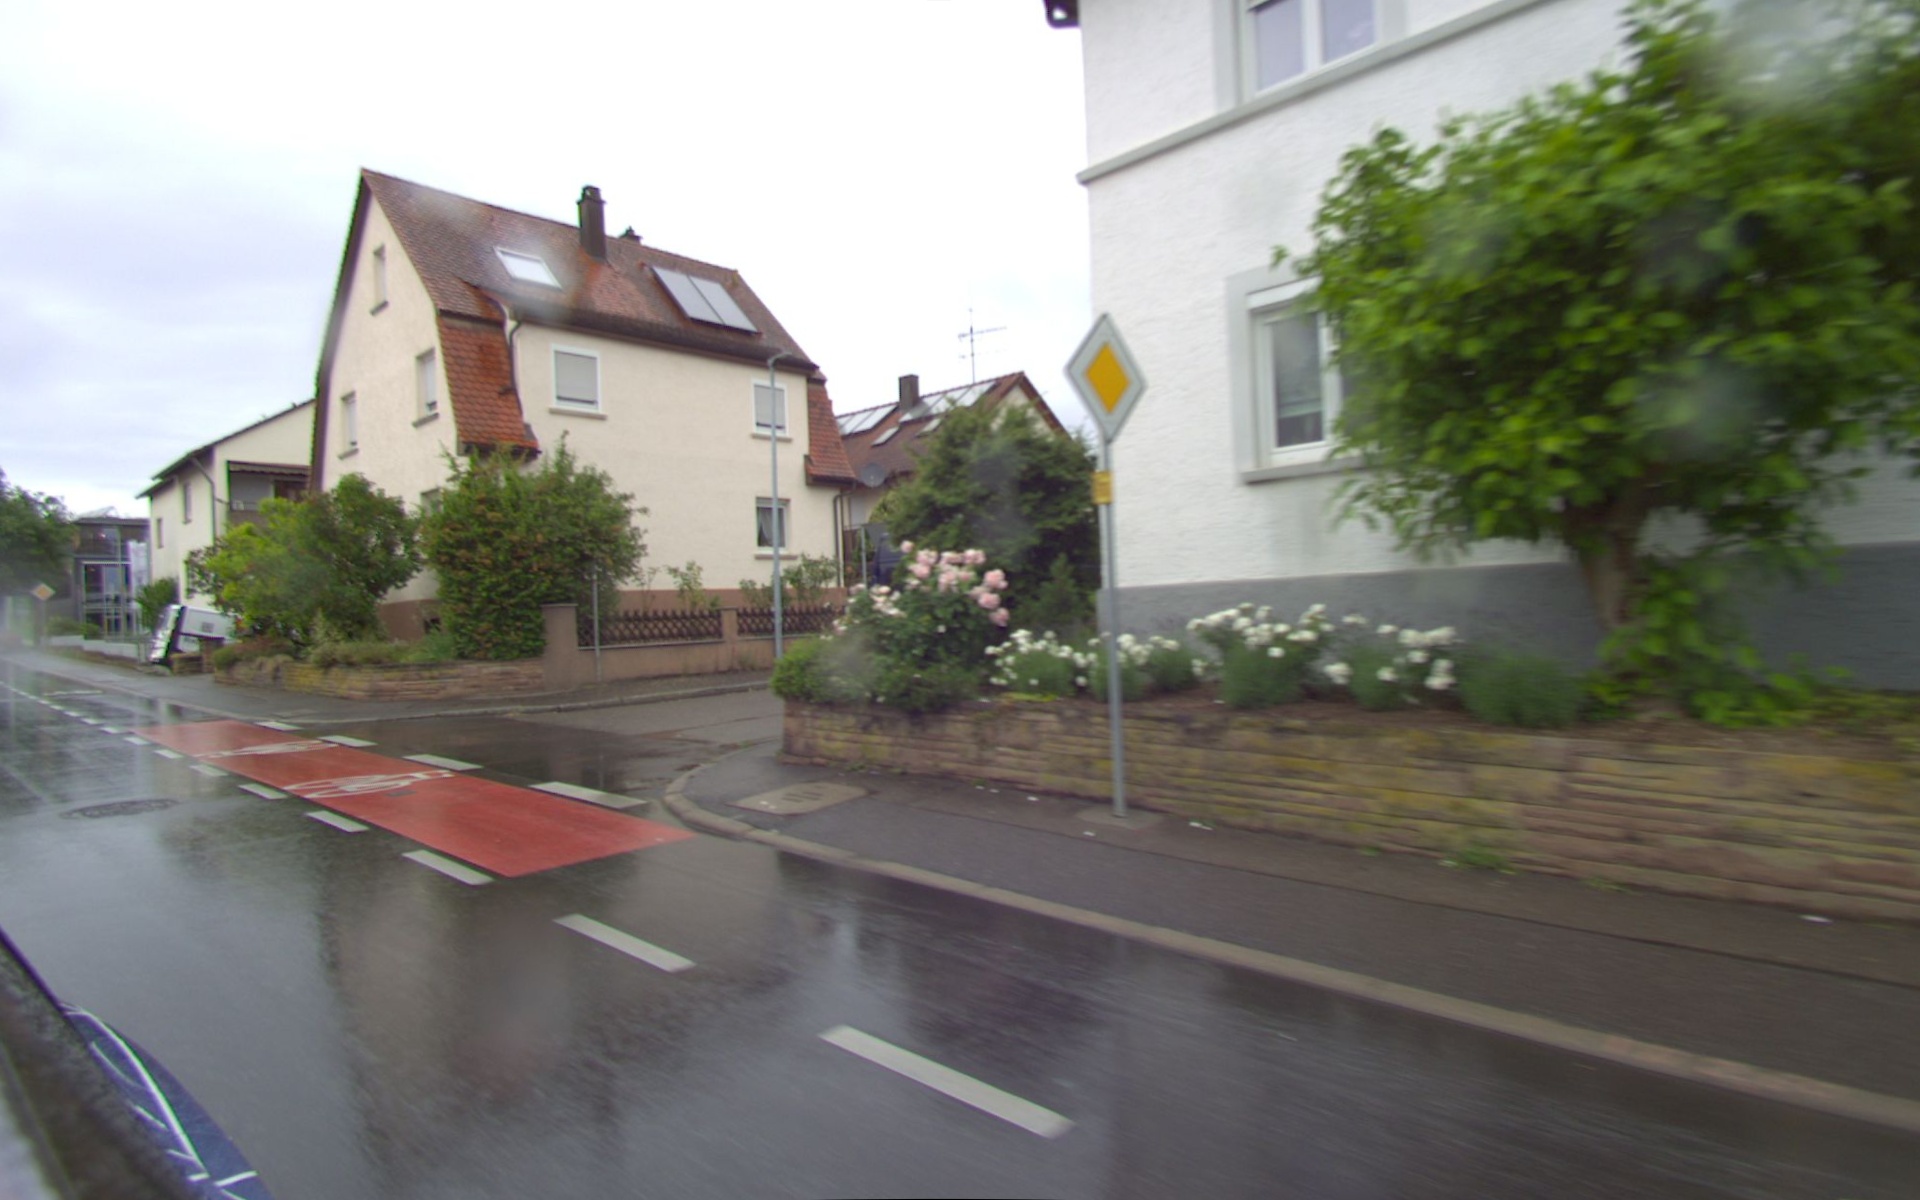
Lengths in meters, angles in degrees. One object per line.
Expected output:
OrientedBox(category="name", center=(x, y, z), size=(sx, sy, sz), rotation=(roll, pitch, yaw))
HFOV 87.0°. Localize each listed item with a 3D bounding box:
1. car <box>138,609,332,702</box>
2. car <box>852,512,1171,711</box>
OrientedBox(category="car", center=(-20.862, 1.659, 29.273), size=(1.872, 1.989, 3.949), rotation=(-2, -13, 39))
OrientedBox(category="car", center=(1.028, 0.139, 16.158), size=(2.288, 2.625, 5.372), rotation=(-2, 0, 39))
